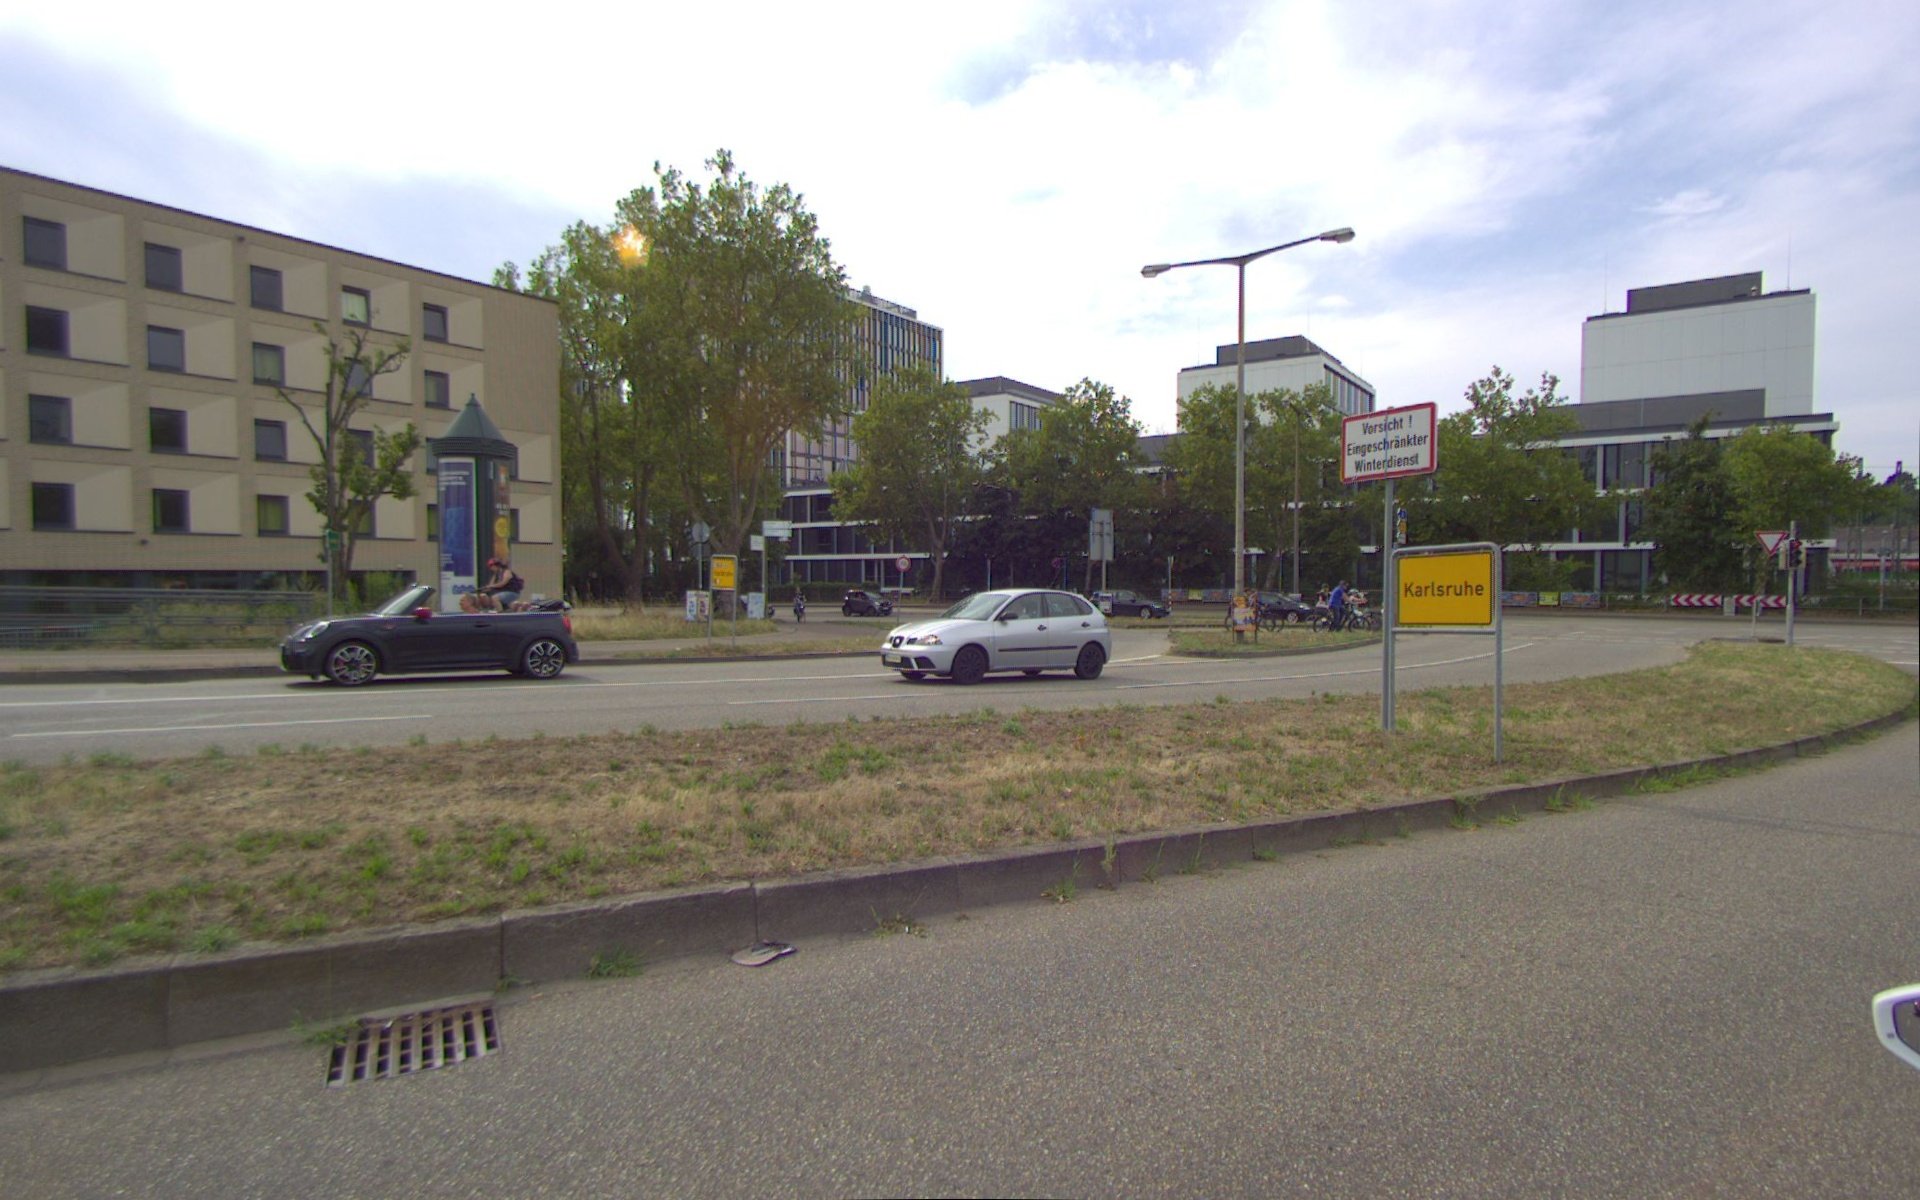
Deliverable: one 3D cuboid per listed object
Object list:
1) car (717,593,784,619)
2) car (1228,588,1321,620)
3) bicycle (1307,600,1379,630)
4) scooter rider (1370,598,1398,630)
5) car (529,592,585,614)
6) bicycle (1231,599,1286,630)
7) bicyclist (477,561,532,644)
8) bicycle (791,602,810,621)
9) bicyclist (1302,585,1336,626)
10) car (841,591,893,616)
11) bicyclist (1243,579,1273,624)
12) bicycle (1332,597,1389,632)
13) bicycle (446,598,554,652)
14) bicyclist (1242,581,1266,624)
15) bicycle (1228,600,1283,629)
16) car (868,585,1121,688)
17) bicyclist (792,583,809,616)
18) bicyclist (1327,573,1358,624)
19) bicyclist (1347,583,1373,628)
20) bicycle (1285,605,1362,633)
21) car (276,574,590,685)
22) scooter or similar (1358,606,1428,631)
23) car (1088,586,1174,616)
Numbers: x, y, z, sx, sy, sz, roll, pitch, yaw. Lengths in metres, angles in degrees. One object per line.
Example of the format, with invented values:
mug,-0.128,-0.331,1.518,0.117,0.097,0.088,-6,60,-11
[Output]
car,-12.484,0.339,59.737,3.936,1.438,1.791,1,1,37
car,14.429,0.149,46.109,3.990,1.386,1.702,1,1,21
bicycle,12.795,0.492,33.611,2.190,0.965,0.812,1,1,16
scooter rider,15.900,0.526,37.716,0.898,1.152,0.808,1,2,18
car,-28.675,0.181,71.488,3.807,1.464,1.728,1,0,31
bicycle,10.610,0.510,35.773,1.869,1.027,0.628,1,2,16
bicyclist,-9.630,0.042,21.233,0.675,1.694,0.844,2,2,37
bicycle,-7.973,0.570,50.132,0.729,0.921,2.112,0,1,-15
bicyclist,12.845,0.190,35.932,1.095,1.456,0.647,0,2,22
car,-5.494,0.201,59.224,2.673,1.441,1.495,1,1,33
bicyclist,10.588,0.044,35.762,0.999,1.560,0.628,1,2,16
bicycle,14.510,0.505,36.416,1.872,1.226,0.642,1,2,28
bicycle,-9.678,0.503,21.202,0.675,1.068,1.987,2,2,36
bicyclist,10.711,0.076,36.582,0.824,1.550,0.628,1,2,17
bicycle,10.756,0.511,36.593,1.869,1.027,0.628,1,2,17
car,0.604,0.534,15.795,3.824,1.429,1.604,1,-1,-37
bicyclist,-7.969,-0.048,50.168,0.729,1.637,0.917,0,1,-15
bicyclist,12.780,-0.062,33.588,0.866,1.679,0.812,1,1,16
bicyclist,14.495,0.178,36.403,0.767,1.602,0.654,1,2,28
bicycle,12.972,0.668,35.893,2.542,0.902,0.704,1,2,23
car,-7.681,0.407,14.792,3.844,1.429,1.728,1,-1,-39
scooter or similar,16.201,0.681,37.623,2.339,0.861,0.808,1,2,19
car,8.650,0.030,50.978,4.003,1.470,1.697,1,1,36
